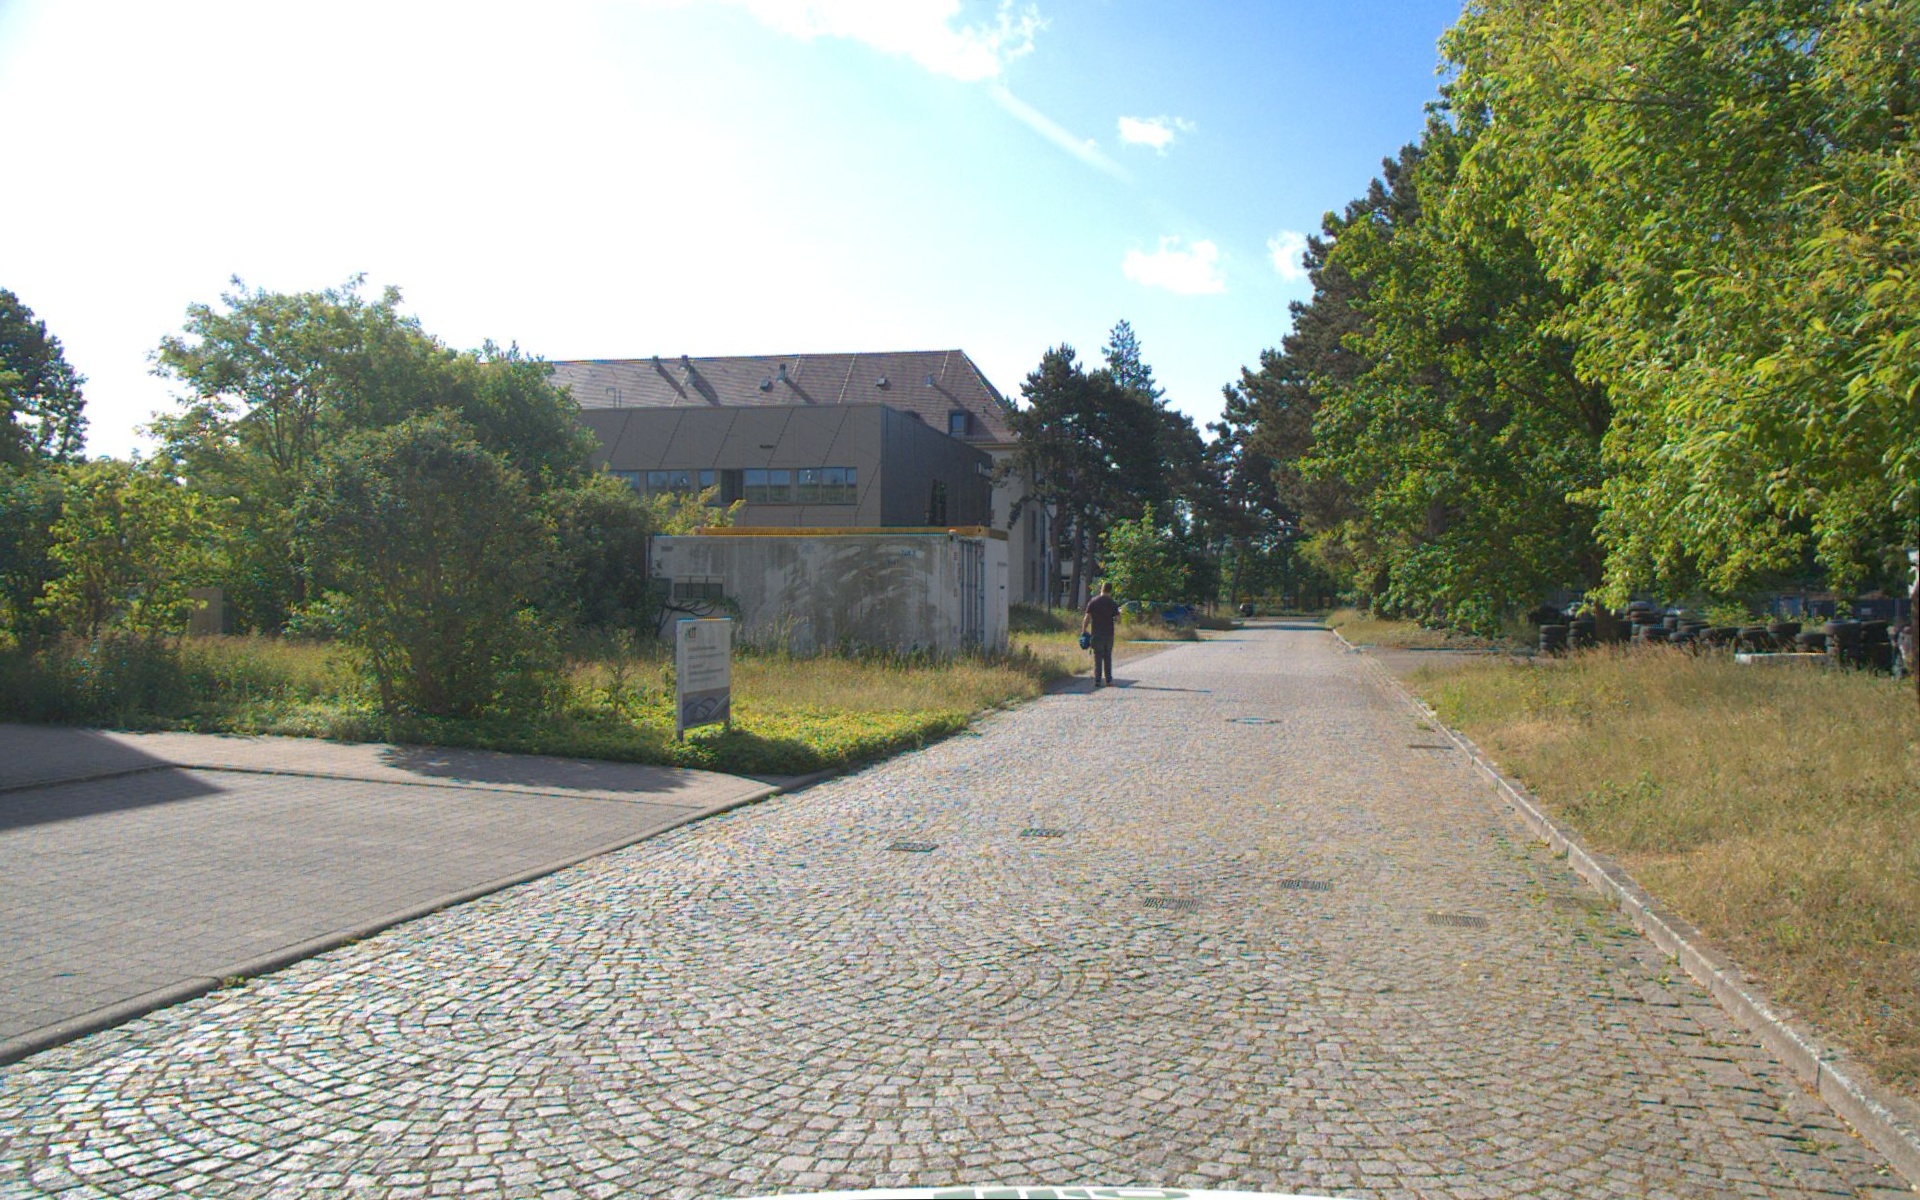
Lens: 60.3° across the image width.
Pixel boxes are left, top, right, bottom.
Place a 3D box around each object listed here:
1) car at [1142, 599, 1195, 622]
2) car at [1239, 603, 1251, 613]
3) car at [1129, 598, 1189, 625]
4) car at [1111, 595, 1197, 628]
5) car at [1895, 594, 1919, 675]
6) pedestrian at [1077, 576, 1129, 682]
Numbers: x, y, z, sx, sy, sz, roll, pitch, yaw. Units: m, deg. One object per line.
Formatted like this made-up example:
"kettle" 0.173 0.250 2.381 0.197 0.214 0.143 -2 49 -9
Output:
"car" 11.346 0.548 90.061 2.794 1.227 1.374 0 0 3
"car" 33.404 0.944 193.827 1.340 1.118 2.865 0 0 9
"car" 9.690 0.550 80.814 2.841 1.281 1.288 0 0 3
"car" 8.656 0.493 73.643 3.751 1.466 1.584 0 0 9
"car" 17.703 0.618 29.054 1.508 1.431 3.579 0 0 17
"pedestrian" 2.545 0.505 29.308 0.778 1.812 1.069 2 0 10
